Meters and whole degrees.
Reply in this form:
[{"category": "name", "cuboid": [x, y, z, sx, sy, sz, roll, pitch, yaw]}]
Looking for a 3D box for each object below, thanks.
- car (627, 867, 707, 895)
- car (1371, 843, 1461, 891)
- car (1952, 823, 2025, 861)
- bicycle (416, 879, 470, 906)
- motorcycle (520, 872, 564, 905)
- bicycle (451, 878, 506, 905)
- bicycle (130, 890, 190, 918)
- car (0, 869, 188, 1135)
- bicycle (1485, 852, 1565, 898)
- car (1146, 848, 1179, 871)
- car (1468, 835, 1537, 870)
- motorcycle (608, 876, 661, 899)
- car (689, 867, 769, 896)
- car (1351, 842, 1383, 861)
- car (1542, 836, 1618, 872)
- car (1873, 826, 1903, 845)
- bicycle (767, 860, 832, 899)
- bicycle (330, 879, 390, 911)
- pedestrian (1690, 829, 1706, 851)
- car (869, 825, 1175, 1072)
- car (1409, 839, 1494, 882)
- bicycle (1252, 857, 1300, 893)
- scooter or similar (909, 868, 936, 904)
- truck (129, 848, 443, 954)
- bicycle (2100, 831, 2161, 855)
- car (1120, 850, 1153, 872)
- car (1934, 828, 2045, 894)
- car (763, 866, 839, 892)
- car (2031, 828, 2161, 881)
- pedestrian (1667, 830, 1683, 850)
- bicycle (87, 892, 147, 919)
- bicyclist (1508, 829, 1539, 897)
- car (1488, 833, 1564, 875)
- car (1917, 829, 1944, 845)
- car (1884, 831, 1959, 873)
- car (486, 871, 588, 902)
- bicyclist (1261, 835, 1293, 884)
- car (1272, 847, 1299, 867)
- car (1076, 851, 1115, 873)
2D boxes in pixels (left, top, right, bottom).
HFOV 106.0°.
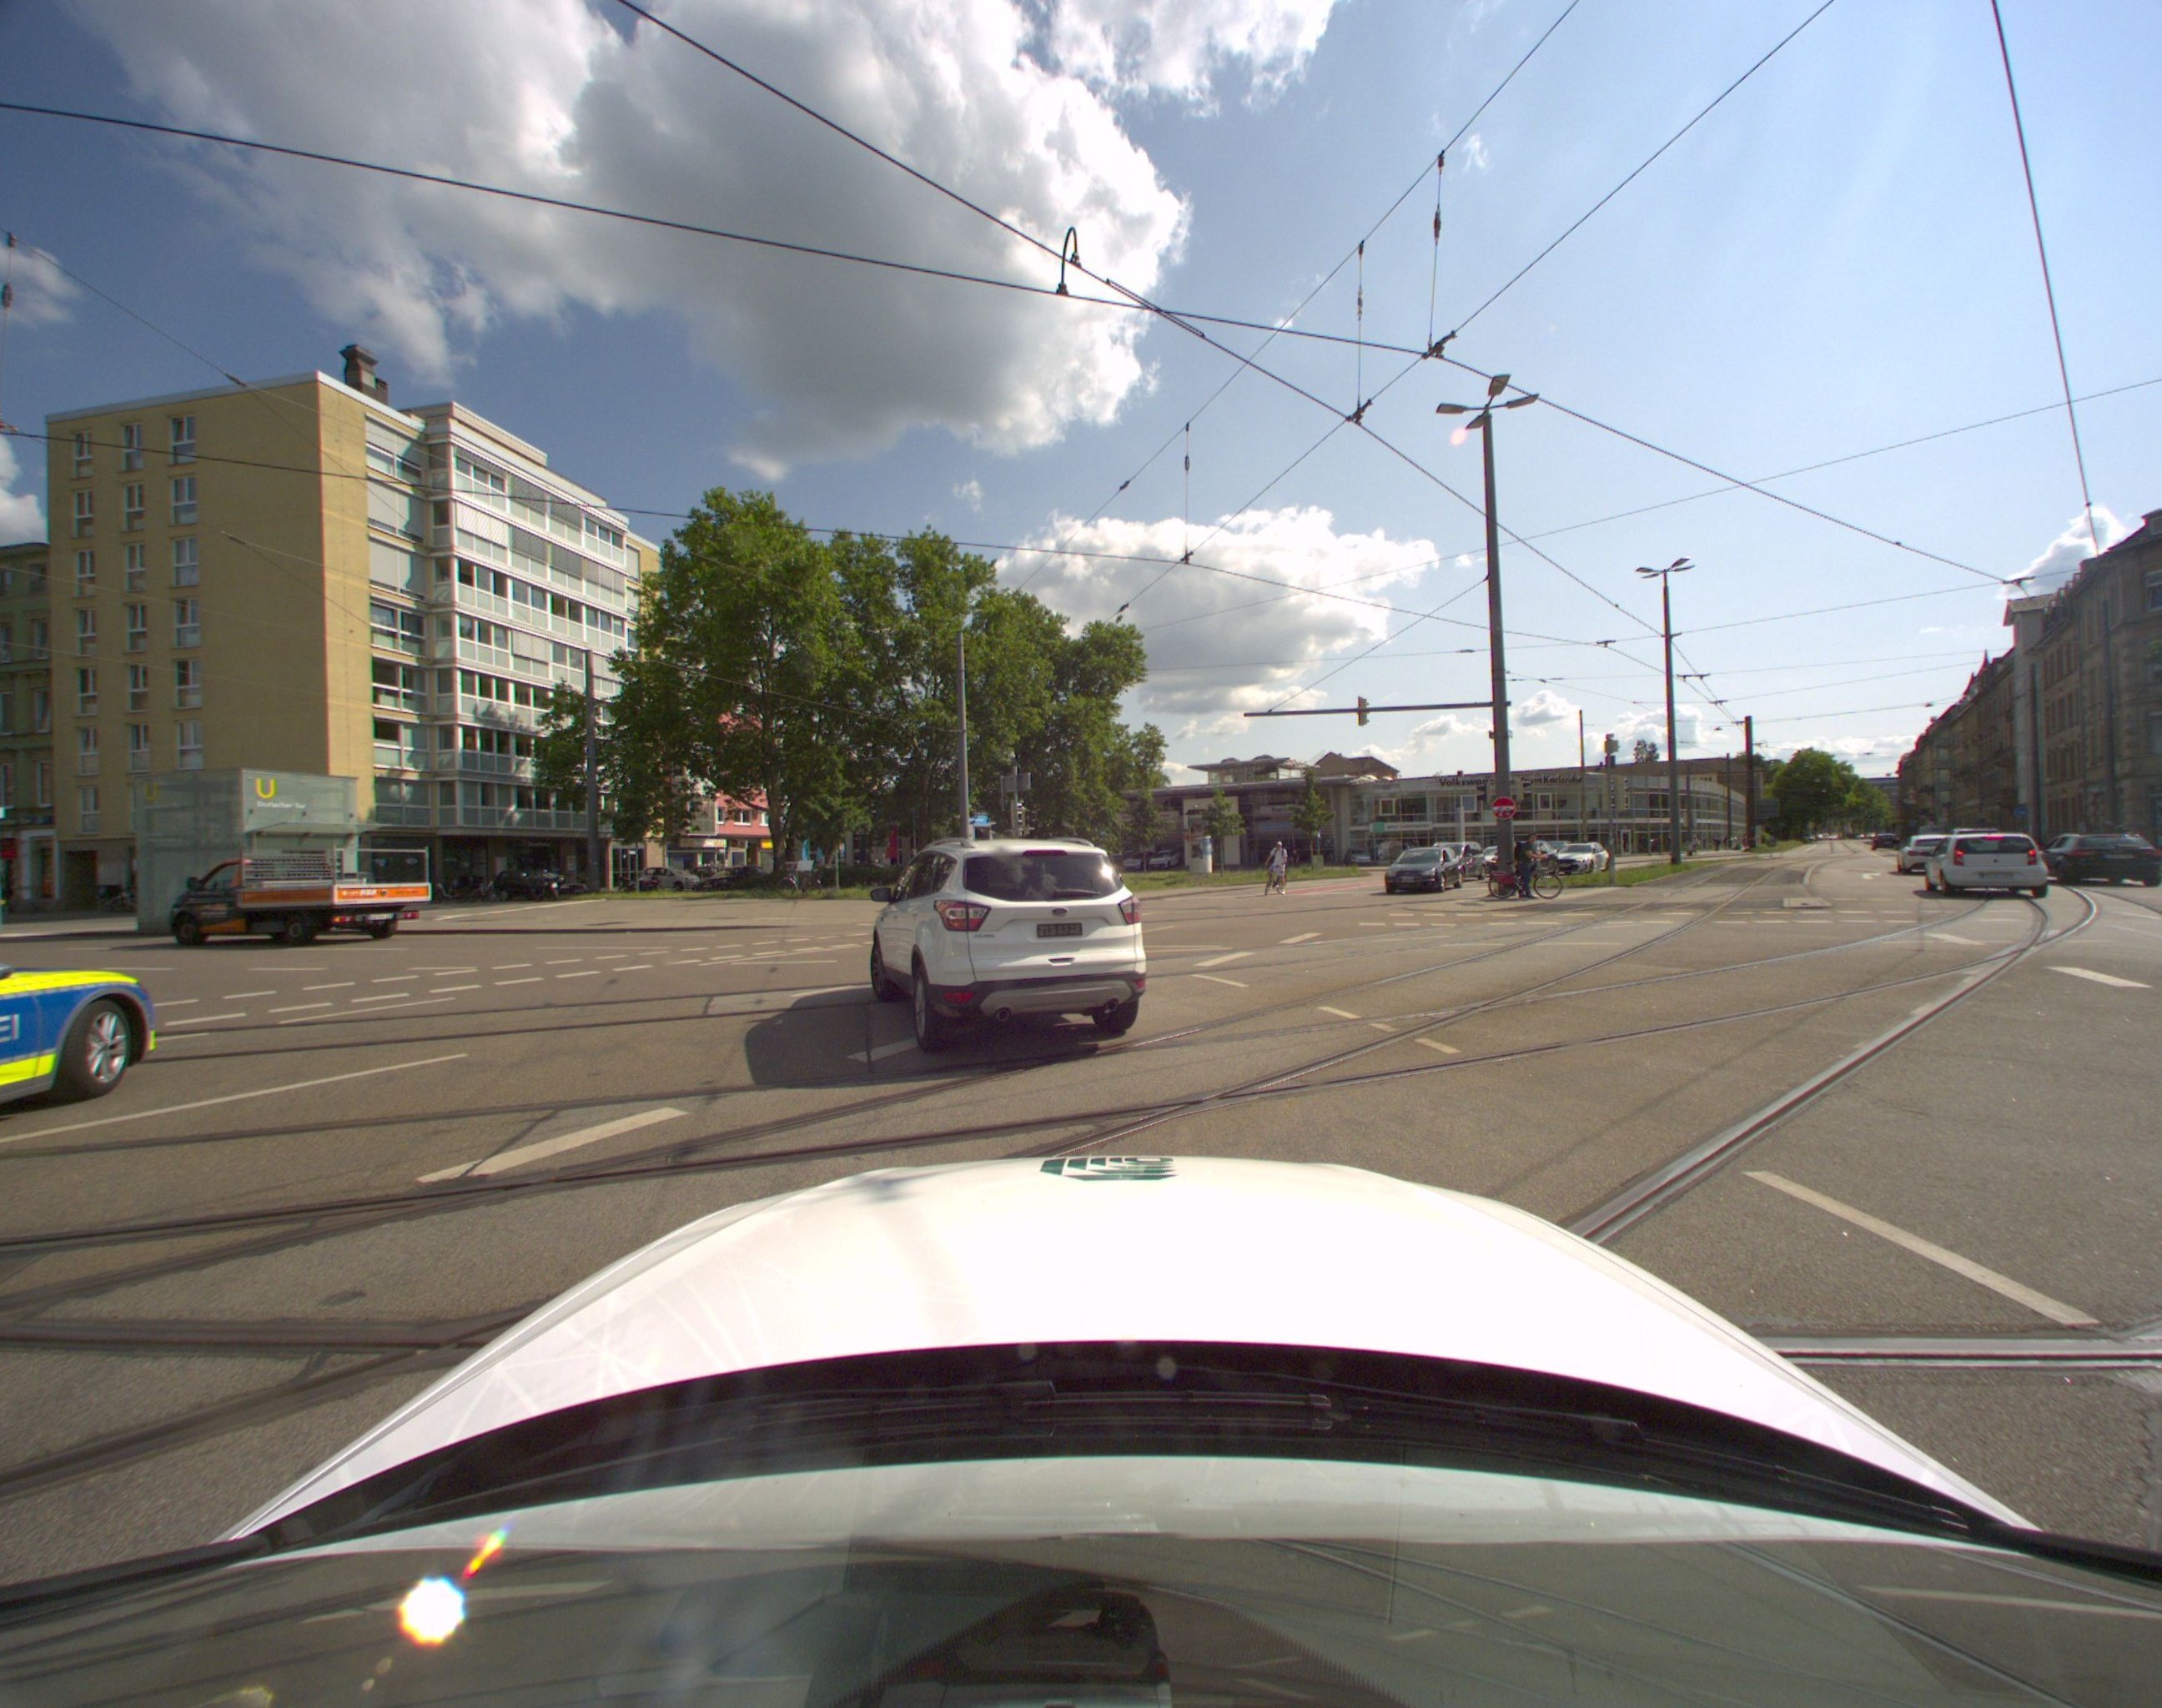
[{"category": "car", "cuboid": [-24.913, 1.616, 49.085, 3.963, 1.495, 1.808, -2, 0, 9]}, {"category": "car", "cuboid": [10.997, 0.402, 26.590, 1.720, 1.373, 3.665, -3, -1, 38]}, {"category": "car", "cuboid": [41.490, -0.534, 37.317, 1.819, 1.652, 4.024, -1, 0, 42]}, {"category": "bicycle", "cuboid": [-28.289, 1.705, 36.102, 1.794, 1.147, 0.798, -1, 0, 6]}, {"category": "motorcycle", "cuboid": [-21.366, 1.354, 32.279, 2.190, 1.238, 0.911, -2, 1, 42]}, {"category": "bicycle", "cuboid": [-27.507, 1.714, 37.187, 1.933, 1.147, 0.798, -1, 0, 6]}, {"category": "bicycle", "cuboid": [-40.325, 2.182, 35.671, 1.795, 1.104, 0.798, -1, 0, 5]}, {"category": "car", "cuboid": [-7.092, 0.904, 3.863, 1.886, 1.568, 4.584, -2, 0, -20]}, {"category": "bicycle", "cuboid": [11.524, 0.544, 21.162, 1.761, 1.125, 0.644, -1, 1, 32]}, {"category": "car", "cuboid": [7.630, 0.496, 76.162, 1.977, 2.014, 4.252, -3, -2, 20]}, {"category": "car", "cuboid": [20.001, -0.074, 38.606, 3.991, 1.461, 1.611, -3, -1, -43]}, {"category": "motorcycle", "cuboid": [-20.376, 1.516, 37.178, 2.050, 0.917, 0.804, -3, 1, -29]}, {"category": "car", "cuboid": [-18.820, 1.453, 43.762, 1.892, 1.413, 4.014, -2, -2, 13]}, {"category": "car", "cuboid": [25.477, -0.219, 72.544, 1.800, 1.534, 3.942, -4, -2, 32]}, {"category": "car", "cuboid": [22.504, -0.033, 36.668, 3.991, 1.461, 1.882, -2, -1, -43]}, {"category": "car", "cuboid": [72.675, -1.668, 73.352, 1.819, 1.652, 4.024, -1, 0, 44]}, {"category": "bicycle", "cuboid": [-10.575, 0.961, 30.629, 2.155, 1.414, 0.814, -1, 1, 9]}, {"category": "bicycle", "cuboid": [-31.621, 1.784, 35.746, 0.787, 1.258, 1.819, -1, 0, 21]}, {"category": "pedestrian", "cuboid": [55.526, -1.266, 73.292, 0.879, 1.922, 0.869, 0, 0, -33]}, {"category": "car", "cuboid": [-0.847, 0.663, 7.780, 1.834, 1.664, 3.928, -2, 0, -21]}, {"category": "car", "cuboid": [15.263, 0.249, 33.468, 4.023, 1.573, 1.722, -2, -1, -43]}, {"category": "bicycle", "cuboid": [6.953, 0.731, 28.950, 0.752, 1.192, 2.164, -3, -1, 39]}, {"category": "scooter or similar", "cuboid": [-5.489, 1.089, 28.235, 0.402, 1.193, 1.161, 0, 0, -40]}, {"category": "truck", "cuboid": [-18.041, 1.037, 18.569, 5.791, 2.155, 2.355, -2, 0, 13]}, {"category": "bicycle", "cuboid": [36.569, -0.384, 28.404, 0.579, 0.775, 1.630, -2, 0, 24]}, {"category": "car", "cuboid": [5.338, 0.657, 77.481, 1.951, 1.937, 4.252, -3, -2, 20]}, {"category": "car", "cuboid": [22.268, 0.133, 20.079, 4.023, 1.422, 1.634, -2, 0, -44]}, {"category": "car", "cuboid": [-15.765, 1.402, 45.847, 3.952, 1.327, 1.642, -3, -2, 22]}, {"category": "car", "cuboid": [28.604, -0.017, 23.071, 1.683, 1.372, 4.158, -2, 0, 43]}, {"category": "pedestrian", "cuboid": [51.878, -1.244, 71.145, 0.879, 1.737, 0.869, 0, 0, -30]}, {"category": "bicycle", "cuboid": [-42.368, 2.252, 35.809, 1.795, 1.104, 0.798, -1, 0, 5]}, {"category": "bicyclist", "cuboid": [11.523, 0.219, 21.193, 0.653, 1.738, 0.644, -1, 1, 32]}, {"category": "car", "cuboid": [17.328, -0.014, 31.630, 1.673, 1.461, 3.993, -3, -1, 42]}, {"category": "car", "cuboid": [91.809, -1.847, 88.049, 1.819, 1.652, 4.024, -1, 0, 44]}, {"category": "car", "cuboid": [30.986, -0.083, 30.057, 3.700, 1.419, 1.833, -1, 0, -44]}, {"category": "car", "cuboid": [-26.064, 1.554, 39.072, 3.964, 1.398, 1.676, -2, -1, 8]}, {"category": "bicyclist", "cuboid": [6.982, 0.192, 29.001, 0.752, 1.683, 0.765, -3, -1, 39]}, {"category": "car", "cuboid": [17.576, 0.266, 69.840, 1.803, 1.534, 3.936, -3, -2, 20]}, {"category": "car", "cuboid": [1.479, 0.775, 80.168, 1.950, 1.937, 5.097, -4, -2, 24]}]
